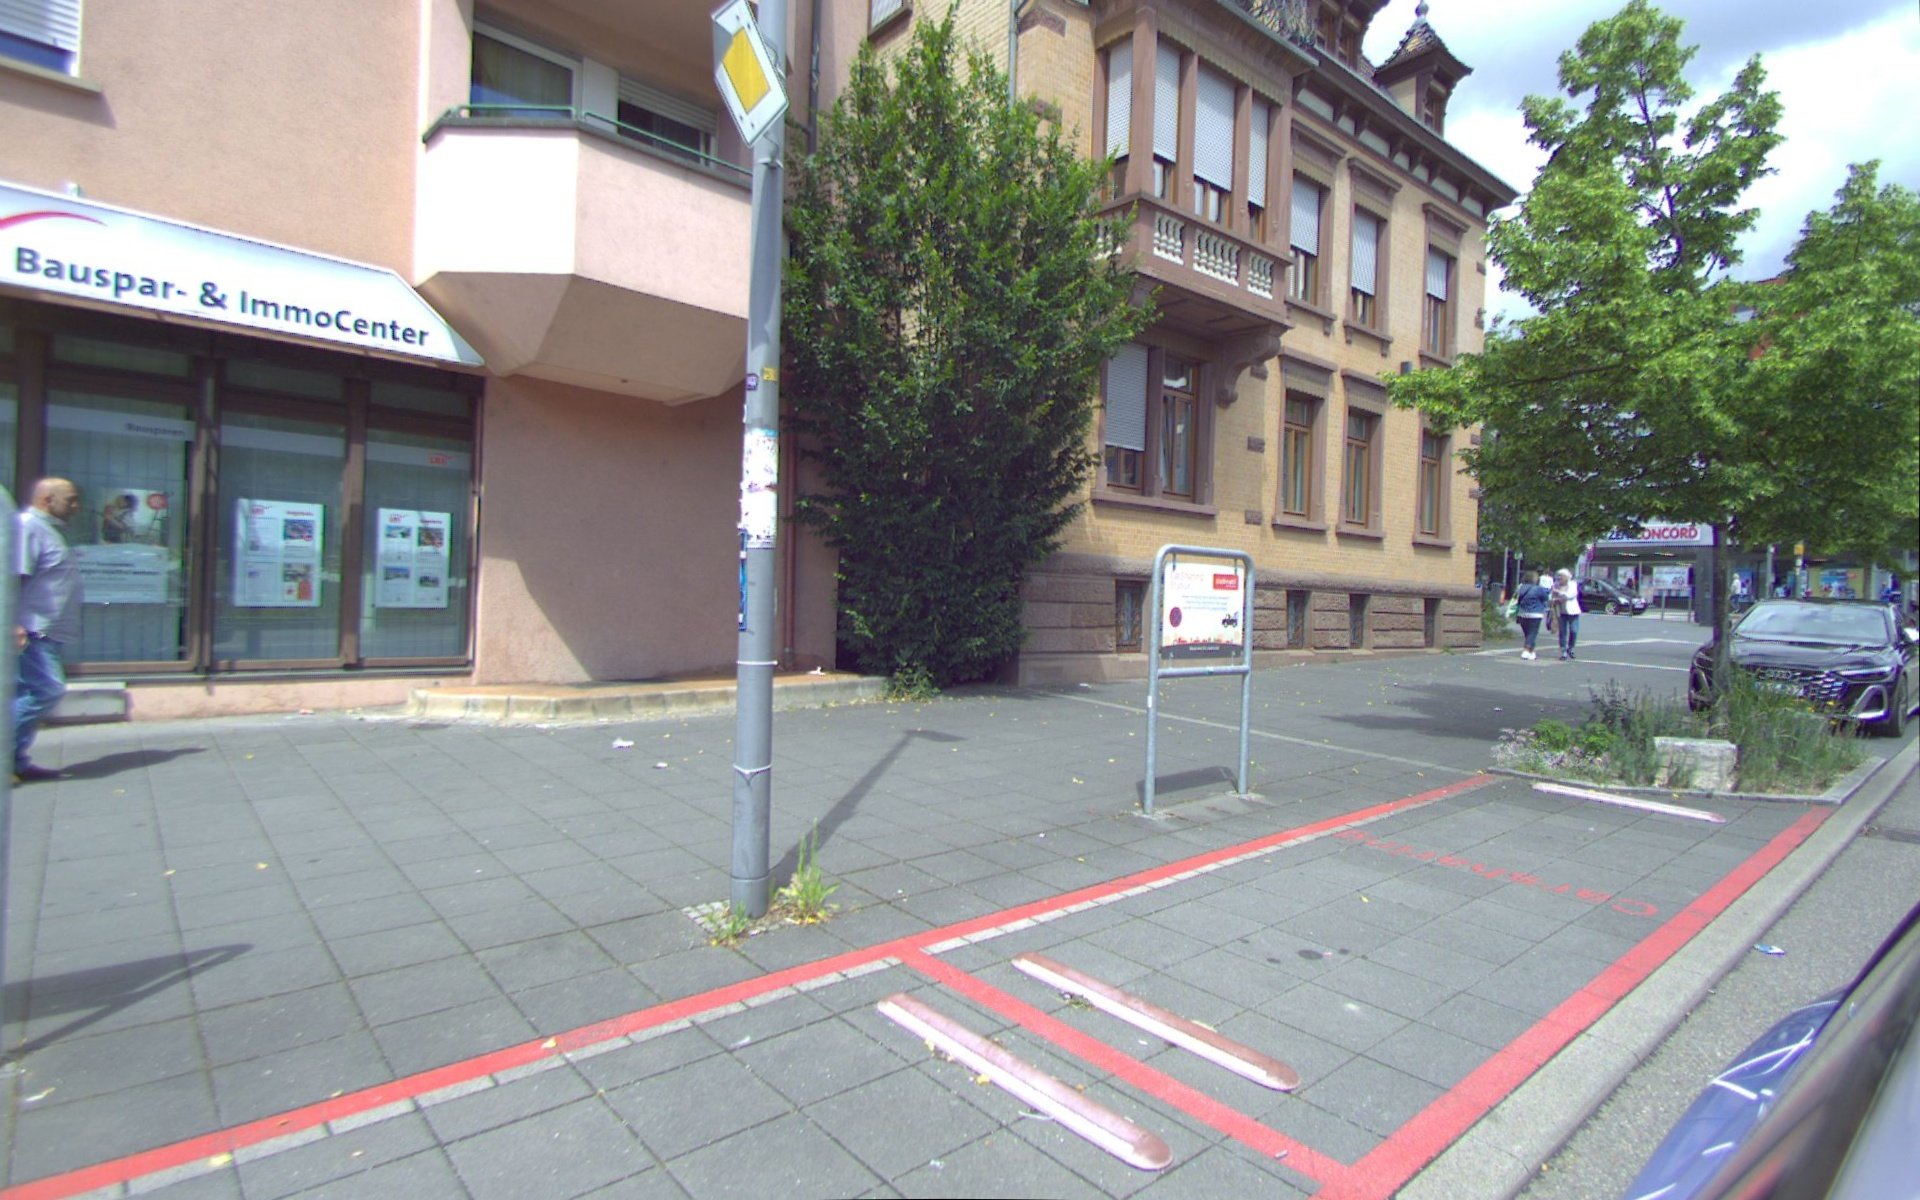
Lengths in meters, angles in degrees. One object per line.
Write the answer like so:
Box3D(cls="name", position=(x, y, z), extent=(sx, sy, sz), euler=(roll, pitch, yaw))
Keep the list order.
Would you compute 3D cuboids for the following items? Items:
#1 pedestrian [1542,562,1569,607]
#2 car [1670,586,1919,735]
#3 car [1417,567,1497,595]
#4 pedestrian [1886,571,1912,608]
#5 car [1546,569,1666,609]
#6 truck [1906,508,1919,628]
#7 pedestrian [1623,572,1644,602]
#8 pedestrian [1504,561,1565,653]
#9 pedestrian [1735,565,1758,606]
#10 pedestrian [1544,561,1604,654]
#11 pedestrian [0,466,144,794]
Box3D(cls="pedestrian", position=(23.495, -0.623, 39.961), extent=(0.756, 1.753, 0.749), euler=(0, 1, 17))
Box3D(cls="car", position=(10.535, 0.582, 12.329), extent=(4.653, 1.431, 1.997), euler=(0, 2, -41))
Box3D(cls="car", position=(29.056, -1.118, 59.273), extent=(1.783, 1.582, 3.835), euler=(-1, 1, -30))
Box3D(cls="pedestrian", position=(42.001, -0.481, 45.285), extent=(0.751, 1.614, 0.686), euler=(-1, 1, -32))
Box3D(cls="car", position=(28.305, -0.485, 44.454), extent=(1.962, 1.672, 4.000), euler=(0, 0, -35))
Box3D(cls="truck", position=(31.437, -1.004, 31.063), extent=(2.669, 3.890, 10.697), euler=(0, 1, 39))
Box3D(cls="pedestrian", position=(36.193, -0.713, 54.351), extent=(0.751, 1.603, 0.686), euler=(-1, 1, -32))
Box3D(cls="pedestrian", position=(10.674, 0.121, 18.809), extent=(0.661, 1.660, 0.742), euler=(-1, 1, -16))
Box3D(cls="pedestrian", position=(38.389, -0.711, 49.408), extent=(0.751, 1.937, 0.686), euler=(-1, 1, -32))
Box3D(cls="pedestrian", position=(11.455, 0.124, 18.883), extent=(0.725, 1.679, 0.699), euler=(-1, 1, -29))
Box3D(cls="pedestrian", position=(-5.141, 0.140, 5.581), extent=(0.929, 1.706, 0.717), euler=(-1, 3, -45))
